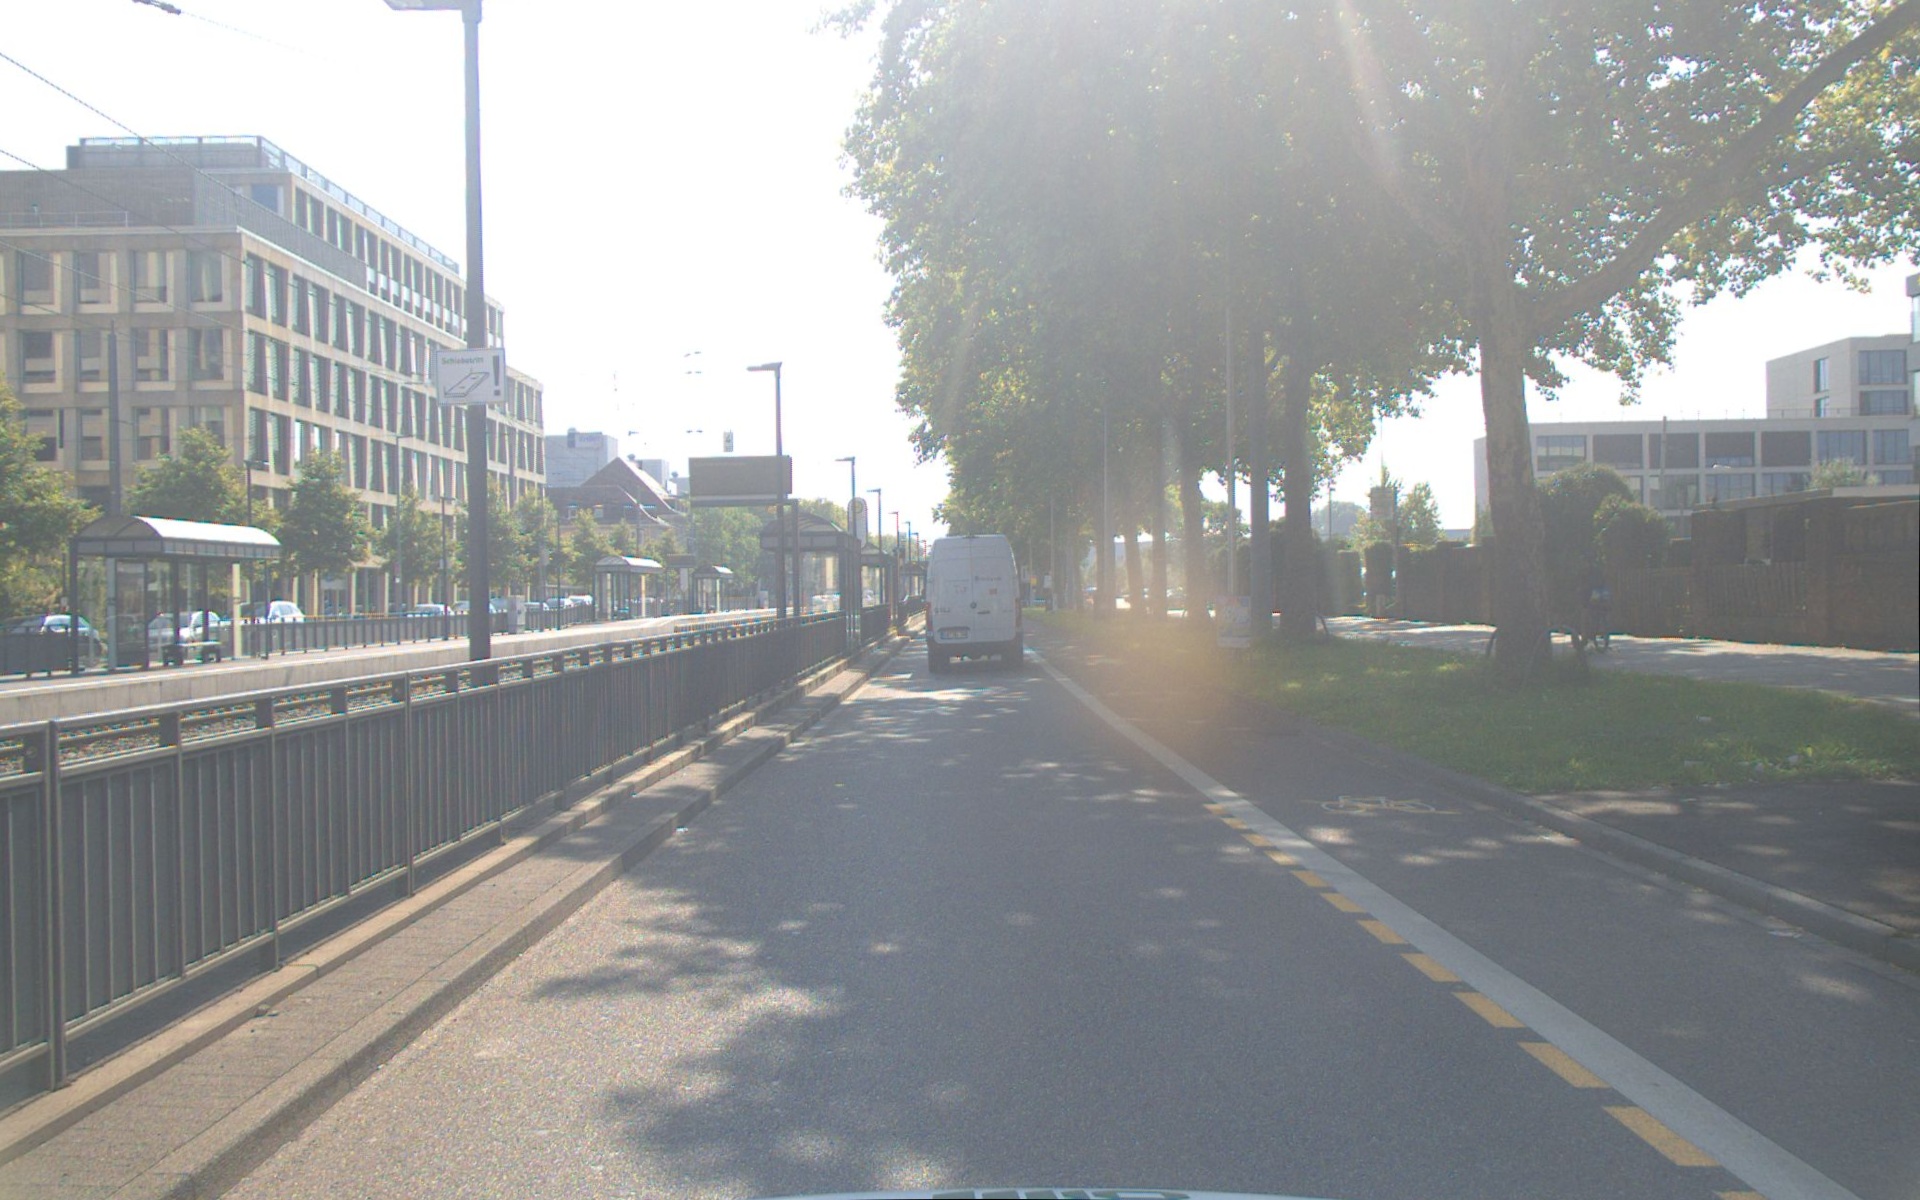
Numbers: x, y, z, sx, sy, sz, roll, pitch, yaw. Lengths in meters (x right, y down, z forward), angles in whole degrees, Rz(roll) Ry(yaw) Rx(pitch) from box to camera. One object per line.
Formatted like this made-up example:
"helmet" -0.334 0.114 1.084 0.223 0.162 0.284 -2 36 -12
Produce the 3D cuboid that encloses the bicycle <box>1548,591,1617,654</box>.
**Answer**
"bicycle" 11.495 0.402 30.603 0.481 1.108 1.856 -1 0 -3

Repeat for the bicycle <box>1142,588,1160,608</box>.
"bicycle" 10.163 -0.097 88.106 0.667 1.022 2.217 -2 0 -1

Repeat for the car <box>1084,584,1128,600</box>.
"car" 13.511 -0.737 152.792 3.905 1.400 2.000 0 -1 0

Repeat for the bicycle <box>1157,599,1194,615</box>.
"bicycle" 13.005 0.412 99.685 2.135 0.861 0.503 -2 0 0

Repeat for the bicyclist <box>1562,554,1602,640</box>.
"bicyclist" 11.455 -0.059 30.460 0.460 1.566 0.596 -1 0 -3

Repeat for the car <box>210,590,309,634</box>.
"car" -24.566 0.386 58.136 1.649 1.432 4.370 -2 0 -1

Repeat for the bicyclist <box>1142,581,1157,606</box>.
"bicyclist" 10.118 -0.370 88.137 0.656 1.298 0.728 -2 0 -1

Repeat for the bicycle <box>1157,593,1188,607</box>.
"bicycle" 13.190 0.001 102.600 1.893 0.861 0.372 -1 0 0

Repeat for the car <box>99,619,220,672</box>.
"car" -24.785 1.383 51.345 1.649 1.432 4.372 -2 0 -1

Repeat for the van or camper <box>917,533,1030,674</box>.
"van or camper" 0.190 0.060 34.723 2.073 2.729 5.247 0 0 -3
